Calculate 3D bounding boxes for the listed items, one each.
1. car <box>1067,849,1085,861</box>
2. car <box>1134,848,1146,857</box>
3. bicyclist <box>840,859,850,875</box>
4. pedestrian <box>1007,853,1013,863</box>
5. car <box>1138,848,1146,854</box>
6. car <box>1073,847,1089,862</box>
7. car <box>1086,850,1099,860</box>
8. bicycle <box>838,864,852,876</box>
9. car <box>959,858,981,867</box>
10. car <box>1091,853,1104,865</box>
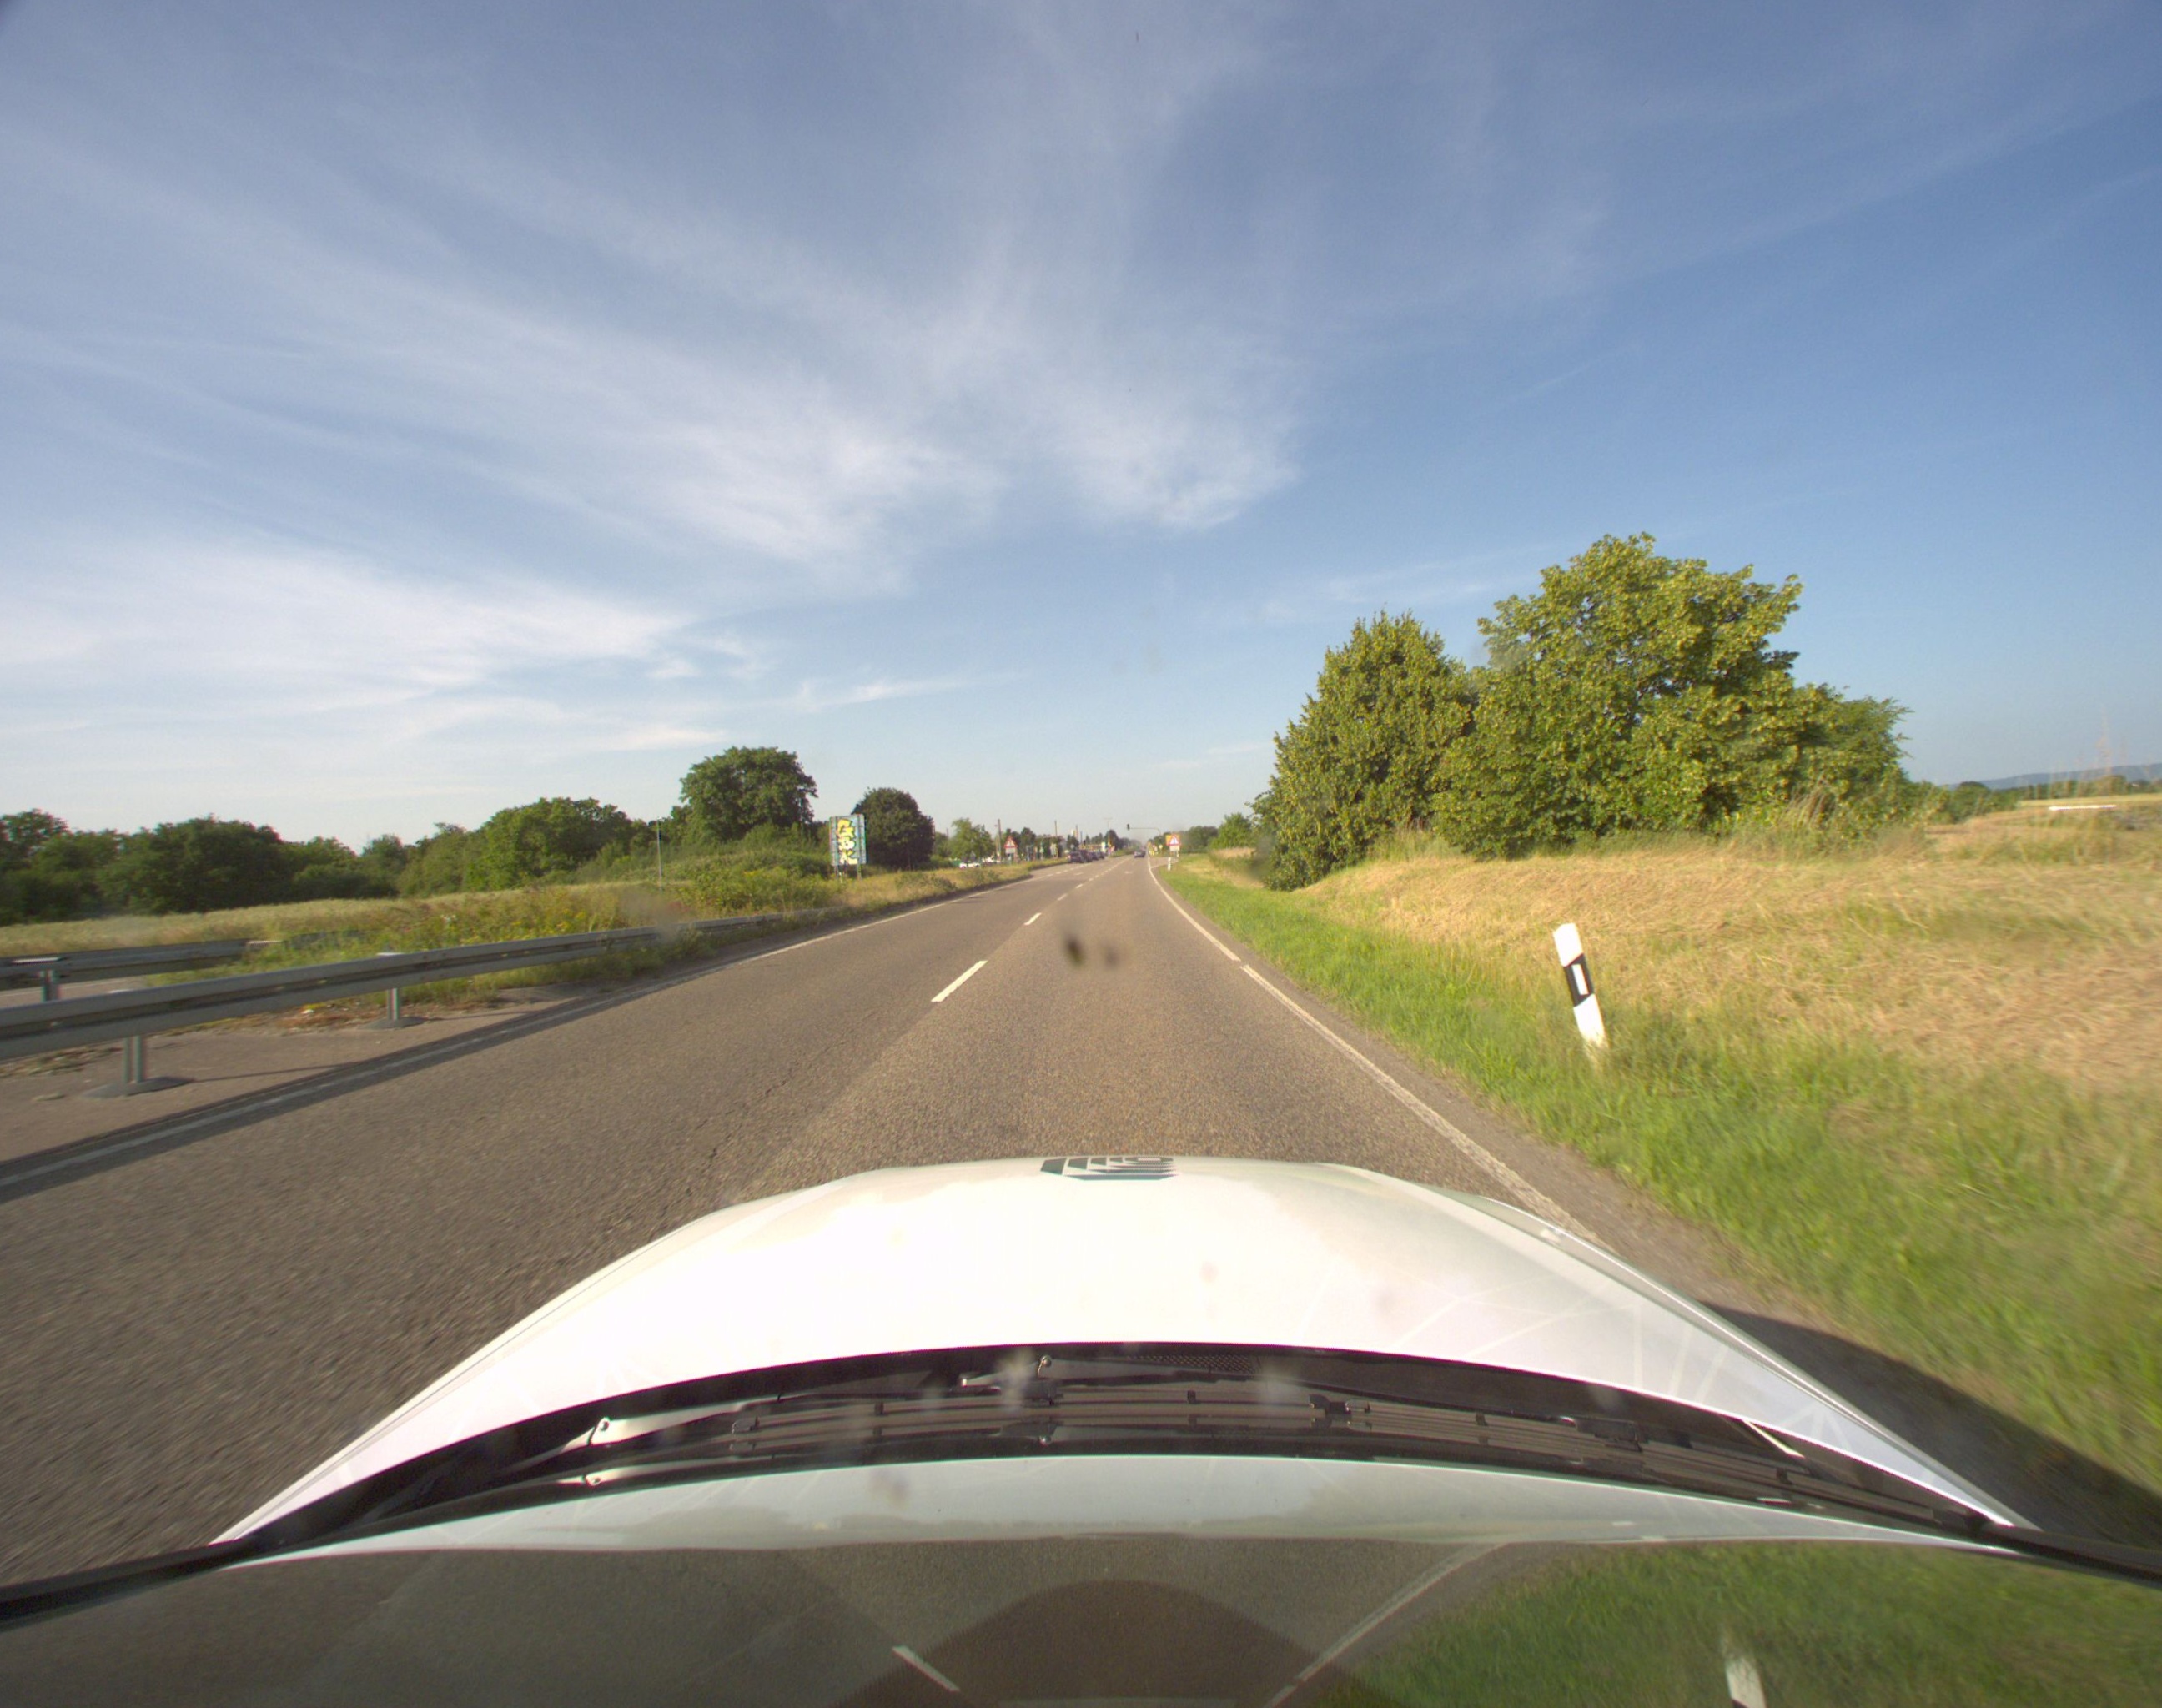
[{"bbox_3d":[-0.638,0.128,104.443,1.724,1.456,4.527,-2,0,5],"label":"car"},{"bbox_3d":[11.023,-0.325,151.730,1.984,1.552,4.006,-2,0,5],"label":"car"},{"bbox_3d":[-20.275,1.106,69.966,0.464,1.389,1.049,-3,0,4],"label":"bicyclist"},{"bbox_3d":[-13.064,0.735,150.072,0.913,1.706,1.067,-1,-1,-1],"label":"pedestrian"},{"bbox_3d":[17.145,-0.888,229.087,1.985,1.596,4.005,-3,0,4],"label":"car"},{"bbox_3d":[0.055,0.044,111.309,1.724,1.855,4.527,-2,0,5],"label":"car"},{"bbox_3d":[1.841,0.223,129.697,1.761,1.471,4.021,-2,0,5],"label":"car"},{"bbox_3d":[-20.264,1.371,70.056,0.527,0.878,1.707,-3,0,4],"label":"bicycle"},{"bbox_3d":[-21.236,1.694,155.653,3.985,1.662,1.881,-1,-1,-9],"label":"car"},{"bbox_3d":[3.012,0.915,147.804,1.984,2.014,4.842,-3,-2,4],"label":"car"}]
